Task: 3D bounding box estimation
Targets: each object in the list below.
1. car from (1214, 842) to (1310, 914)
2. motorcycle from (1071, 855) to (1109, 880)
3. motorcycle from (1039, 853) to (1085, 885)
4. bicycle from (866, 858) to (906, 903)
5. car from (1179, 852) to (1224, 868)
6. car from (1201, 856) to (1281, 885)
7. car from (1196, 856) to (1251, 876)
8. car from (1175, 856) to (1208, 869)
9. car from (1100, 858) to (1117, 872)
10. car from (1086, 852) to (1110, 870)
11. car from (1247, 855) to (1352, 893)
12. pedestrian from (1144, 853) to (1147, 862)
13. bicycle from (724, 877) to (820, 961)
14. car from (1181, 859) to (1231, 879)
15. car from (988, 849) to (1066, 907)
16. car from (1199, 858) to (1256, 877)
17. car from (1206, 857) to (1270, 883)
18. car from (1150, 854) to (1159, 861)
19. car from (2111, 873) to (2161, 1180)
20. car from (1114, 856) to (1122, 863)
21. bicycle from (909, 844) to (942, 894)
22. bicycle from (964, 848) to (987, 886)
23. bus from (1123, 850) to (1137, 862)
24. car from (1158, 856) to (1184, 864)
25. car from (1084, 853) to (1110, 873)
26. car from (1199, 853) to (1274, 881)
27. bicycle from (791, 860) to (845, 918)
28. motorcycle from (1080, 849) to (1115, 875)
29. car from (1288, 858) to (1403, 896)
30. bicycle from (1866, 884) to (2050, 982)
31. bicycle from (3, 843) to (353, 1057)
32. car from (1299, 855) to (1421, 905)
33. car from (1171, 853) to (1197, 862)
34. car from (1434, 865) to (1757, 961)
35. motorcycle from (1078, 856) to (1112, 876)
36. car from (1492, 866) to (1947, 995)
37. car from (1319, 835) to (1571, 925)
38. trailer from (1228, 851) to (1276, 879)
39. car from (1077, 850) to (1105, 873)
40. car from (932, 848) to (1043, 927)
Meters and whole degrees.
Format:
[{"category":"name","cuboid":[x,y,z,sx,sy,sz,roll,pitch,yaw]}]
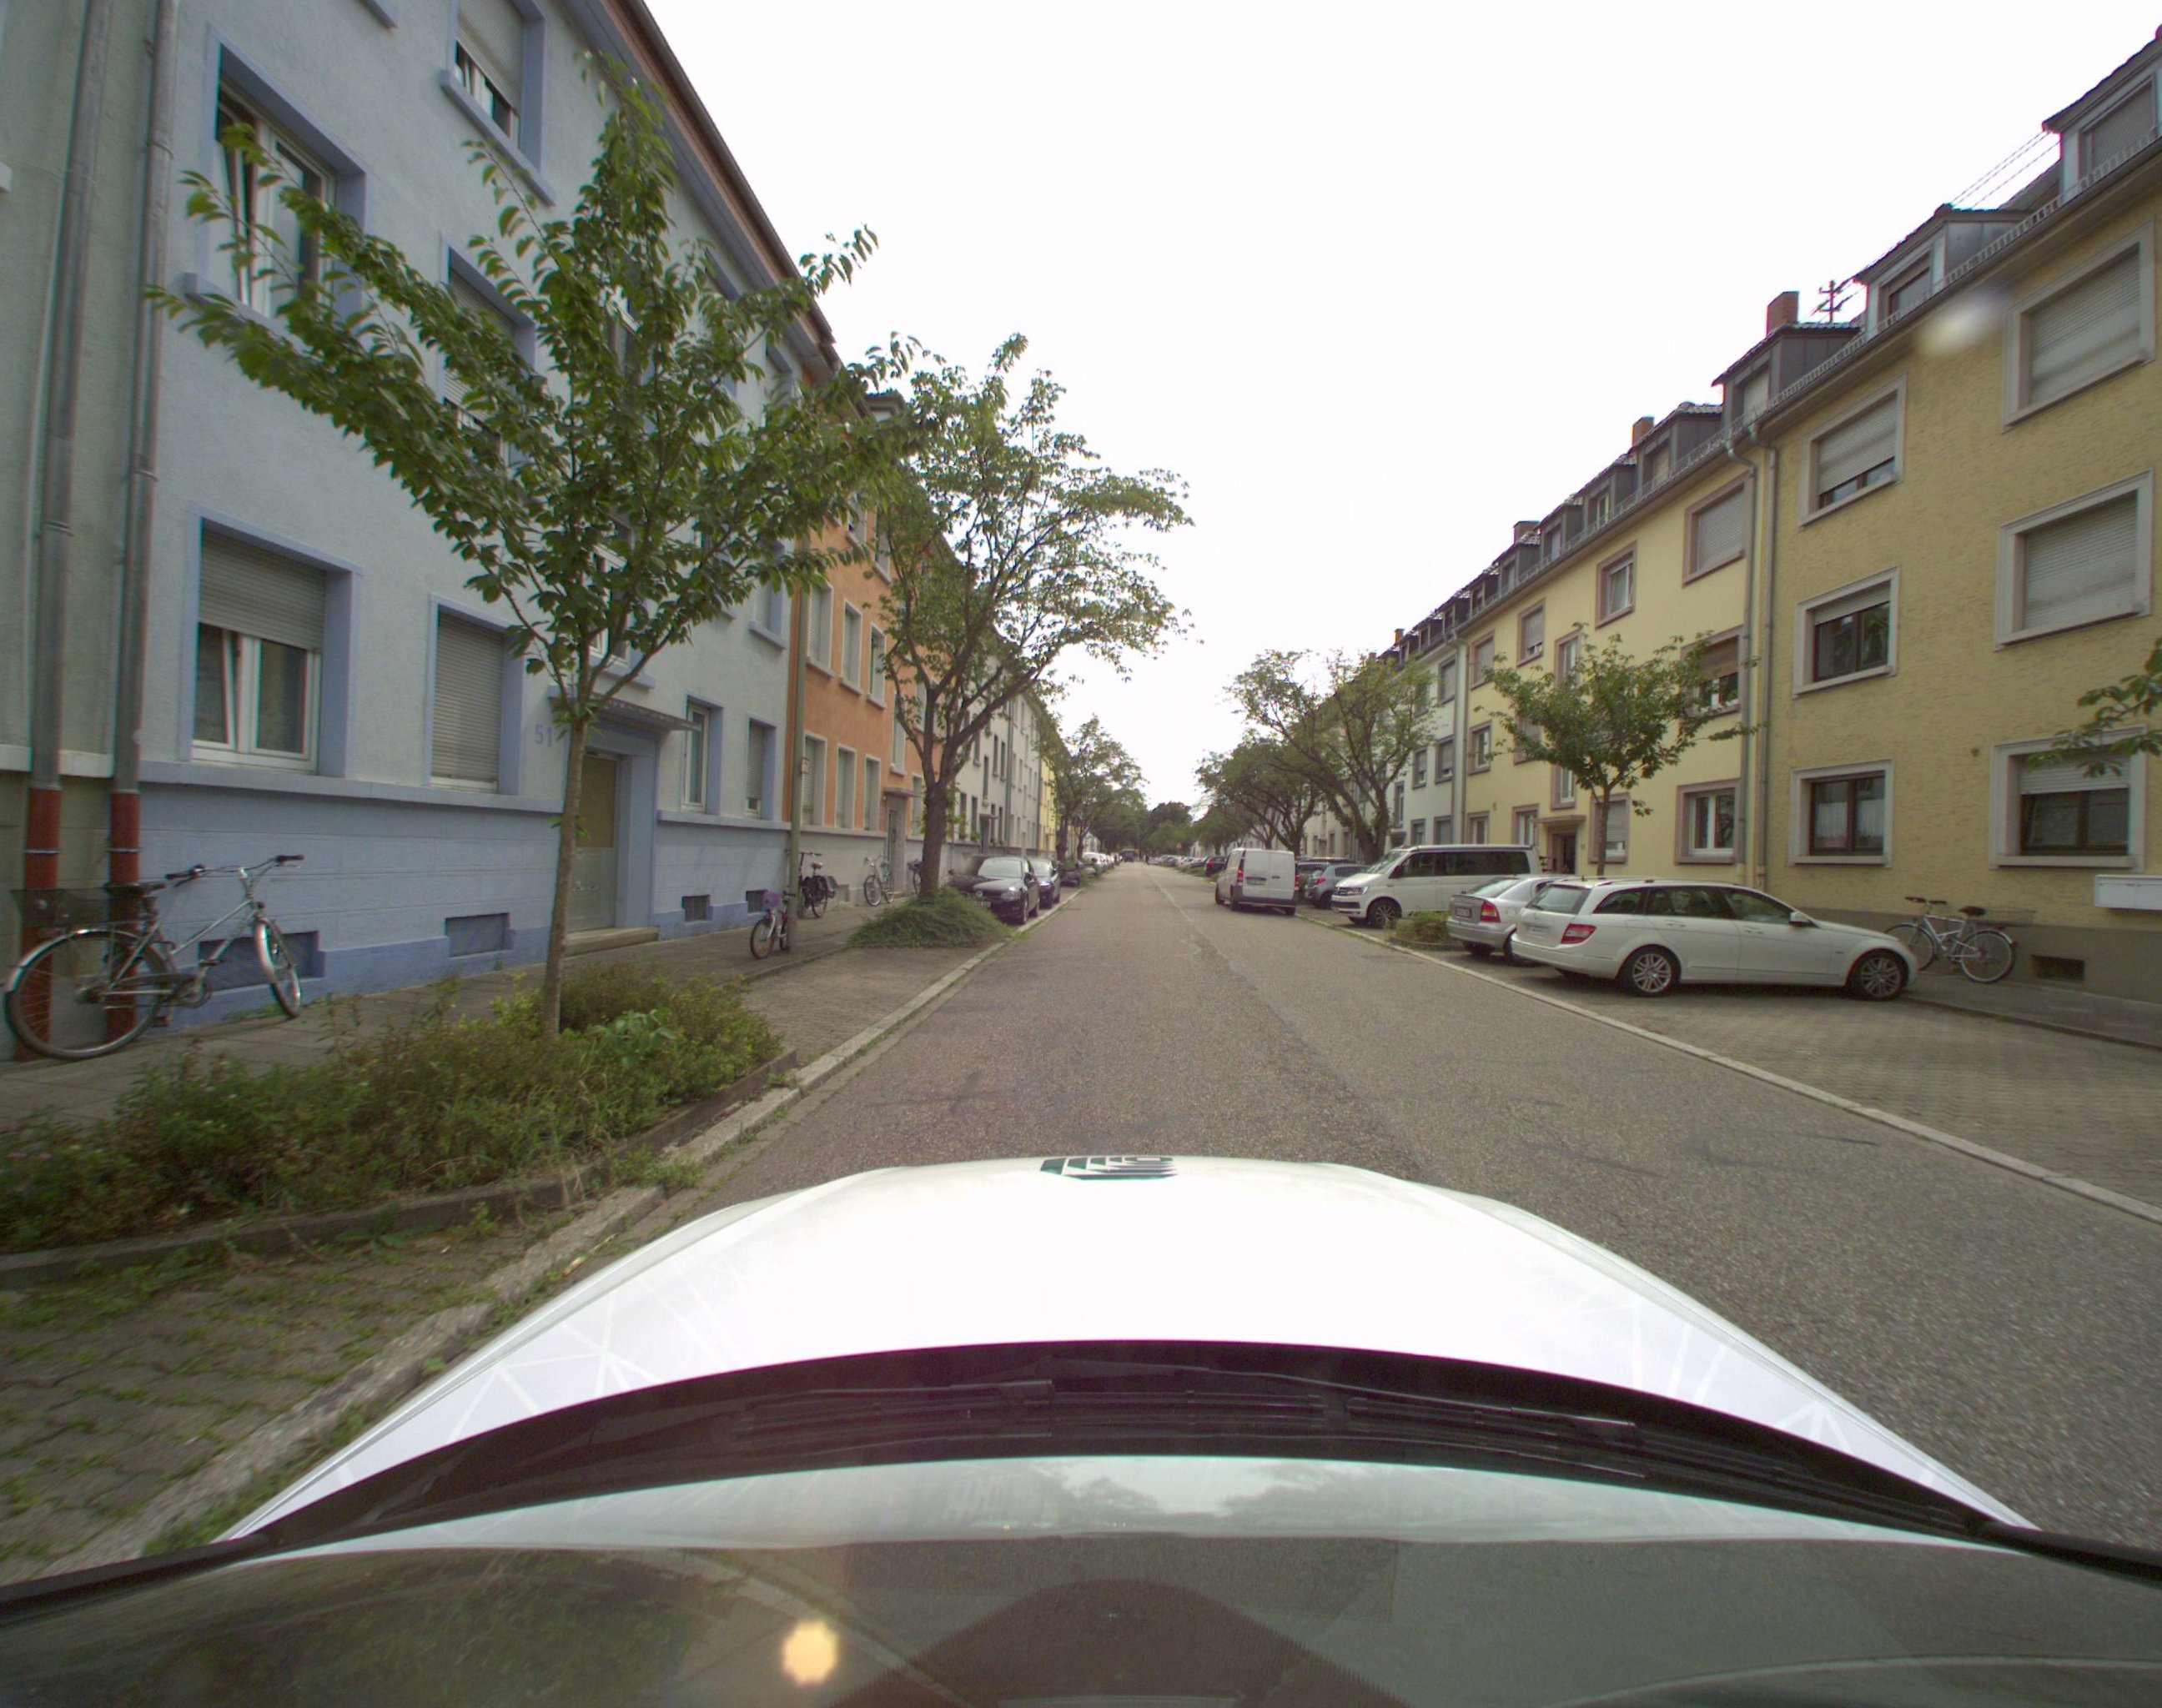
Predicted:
[{"category":"car","cuboid":[5.459,0.702,25.203,1.986,1.915,4.705,3,0,2]},{"category":"motorcycle","cuboid":[0.556,0.803,49.333,2.241,1.481,0.592,0,-1,-23]},{"category":"motorcycle","cuboid":[-0.855,0.689,36.837,2.010,1.407,0.790,0,-1,-8]},{"category":"bicycle","cuboid":[-4.556,0.601,19.102,0.365,1.006,1.869,0,-1,4]},{"category":"car","cuboid":[12.972,0.631,87.863,4.593,1.664,1.895,0,-1,4]},{"category":"car","cuboid":[9.058,0.925,46.356,4.199,1.598,1.904,0,-1,1]},{"category":"car","cuboid":[11.026,0.917,63.213,3.973,1.530,1.768,0,-1,0]},{"category":"car","cuboid":[13.828,1.086,102.037,3.906,1.633,1.870,0,-1,4]},{"category":"car","cuboid":[3.217,1.258,94.262,1.869,1.486,4.516,0,0,4]},{"category":"car","cuboid":[1.581,0.620,73.664,1.910,1.581,4.387,0,-1,4]},{"category":"car","cuboid":[9.075,0.833,34.047,3.970,1.536,1.639,0,-1,3]},{"category":"pedestrian","cuboid":[11.866,0.637,149.172,0.519,1.704,0.445,0,-1,7]},{"category":"bicycle","cuboid":[-3.706,0.748,9.898,0.412,0.873,1.540,5,0,4]},{"category":"car","cuboid":[11.745,1.421,76.713,4.502,1.858,1.796,0,-1,6]},{"category":"car","cuboid":[-1.533,0.682,24.527,1.829,1.484,4.122,4,0,2]},{"category":"car","cuboid":[10.954,1.006,61.177,3.973,1.410,1.768,0,-1,0]},{"category":"car","cuboid":[10.767,1.100,56.147,4.194,1.736,1.907,0,-1,5]},{"category":"car","cuboid":[13.467,0.689,149.630,1.679,1.354,3.831,0,-1,5]},{"category":"car","cuboid":[7.714,0.878,3.410,4.289,1.598,1.852,0,-1,3]},{"category":"car","cuboid":[8.664,1.247,188.906,1.613,1.502,4.005,0,-1,5]},{"category":"bicycle","cuboid":[-4.344,0.414,22.856,0.427,1.334,1.814,0,-1,5]},{"category":"bicycle","cuboid":[-3.809,0.479,29.506,0.427,1.334,1.814,0,-1,5]},{"category":"bus","cuboid":[11.336,0.491,189.663,2.992,2.761,8.929,0,0,2]},{"category":"car","cuboid":[17.460,1.101,157.652,4.956,1.518,1.769,0,-1,1]},{"category":"car","cuboid":[1.304,0.747,65.148,1.782,1.492,4.817,2,-1,4]},{"category":"car","cuboid":[9.385,0.778,49.446,4.199,1.598,1.904,0,-1,1]},{"category":"bicycle","cuboid":[-4.759,0.610,14.815,0.365,0.996,1.571,0,-1,4]},{"category":"motorcycle","cuboid":[1.109,0.526,54.306,0.943,1.676,2.445,2,0,-40]},{"category":"car","cuboid":[10.135,0.881,31.409,3.970,1.420,1.639,0,-1,3]},{"category":"bicycle","cuboid":[12.179,1.050,11.414,0.584,1.199,1.876,0,-1,2]},{"category":"bicycle","cuboid":[-5.402,0.509,5.022,0.365,1.114,1.540,0,-1,4]},{"category":"car","cuboid":[9.123,0.842,26.837,3.464,1.574,1.816,0,-1,2]},{"category":"car","cuboid":[14.915,0.488,118.082,3.730,1.365,1.775,0,-1,4]},{"category":"car","cuboid":[8.161,0.902,13.221,4.077,1.415,1.851,0,-1,1]},{"category":"motorcycle","cuboid":[0.845,0.691,47.916,1.914,1.192,0.592,0,-1,-23]},{"category":"car","cuboid":[8.160,0.936,10.748,4.530,1.510,1.851,0,-1,1]},{"category":"car","cuboid":[8.663,0.606,19.733,5.213,2.023,2.073,0,-1,-1]},{"category":"trailer","cuboid":[11.298,0.720,53.938,2.945,1.831,1.403,0,-1,7]},{"category":"car","cuboid":[0.776,0.561,59.120,1.749,1.556,4.260,1,0,3]},{"category":"car","cuboid":[-1.954,0.675,18.254,1.829,1.484,4.095,3,0,2]}]
